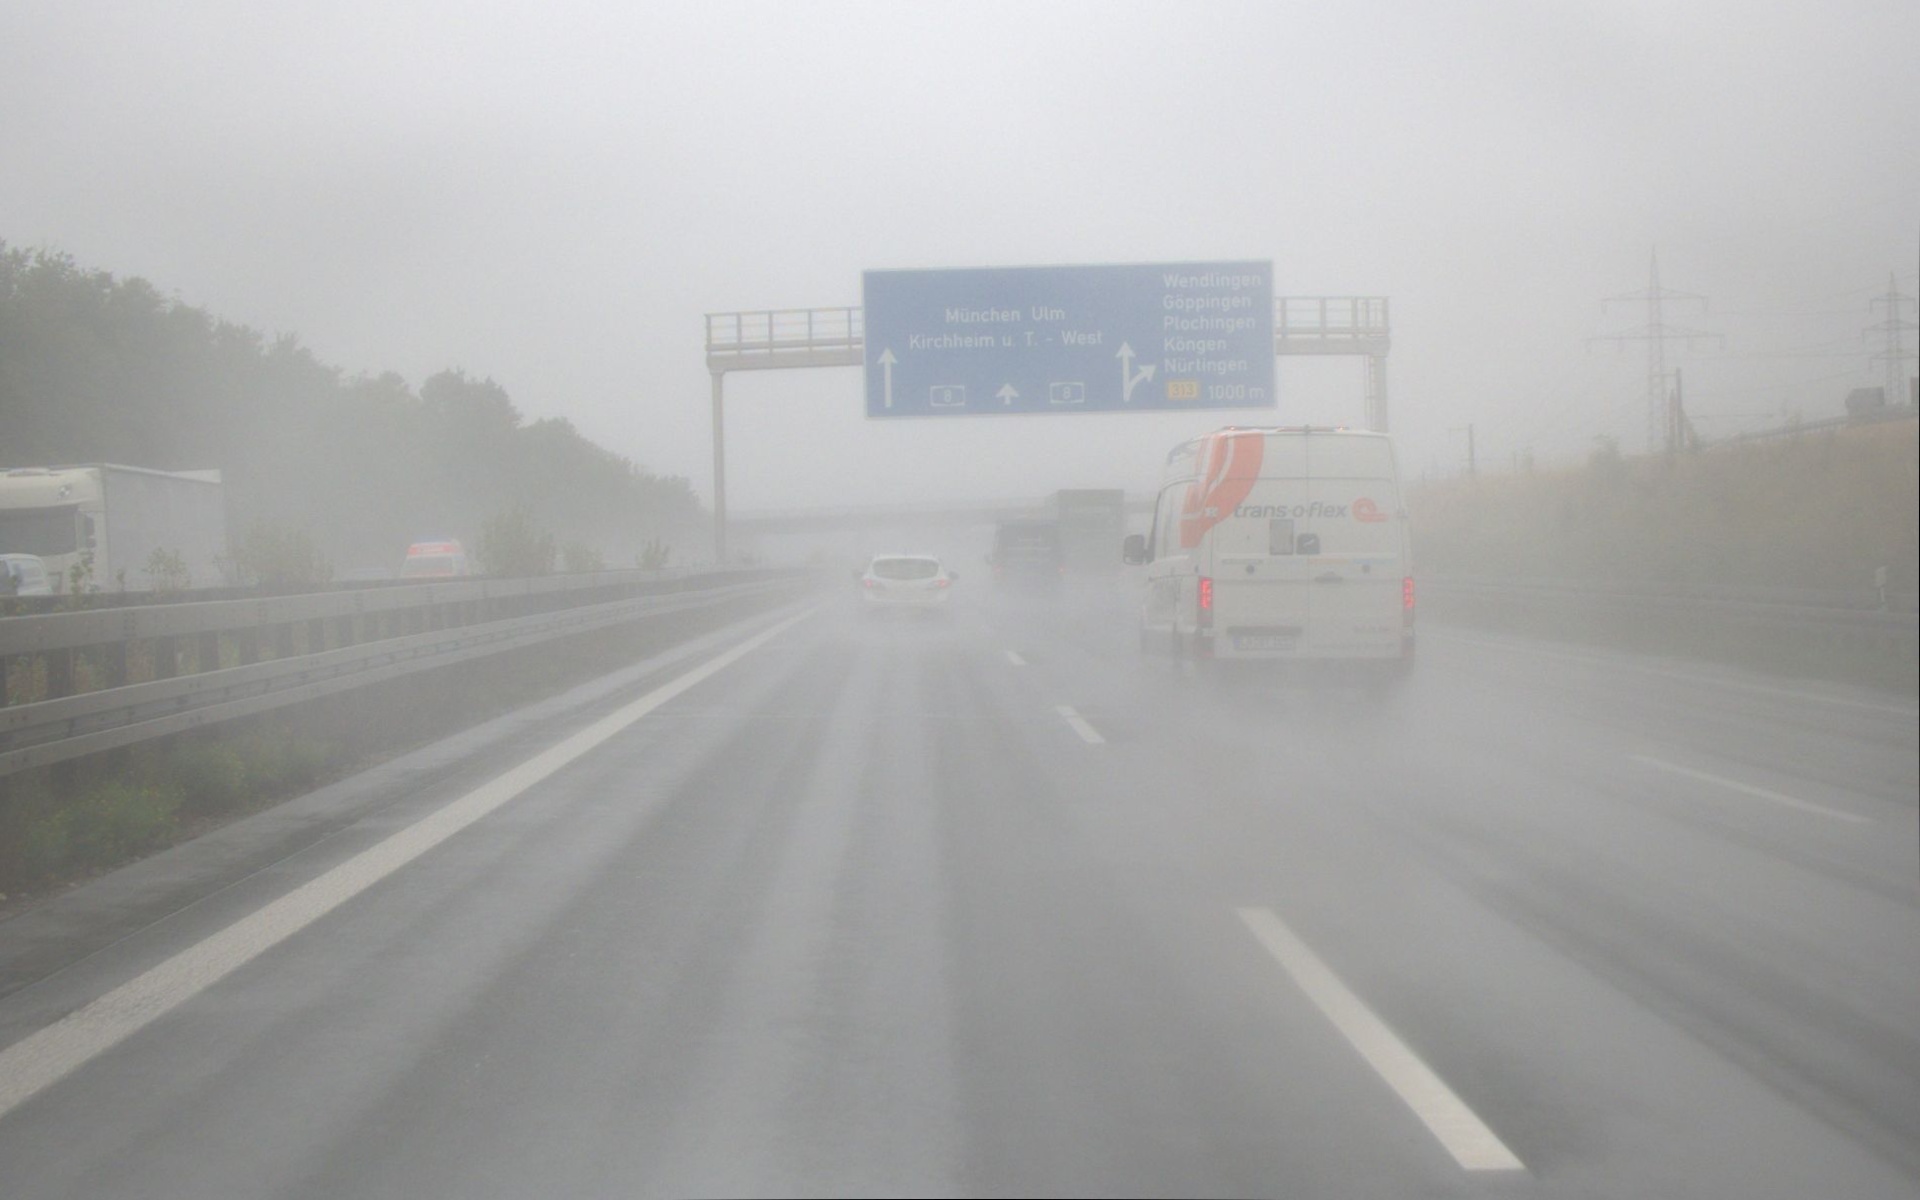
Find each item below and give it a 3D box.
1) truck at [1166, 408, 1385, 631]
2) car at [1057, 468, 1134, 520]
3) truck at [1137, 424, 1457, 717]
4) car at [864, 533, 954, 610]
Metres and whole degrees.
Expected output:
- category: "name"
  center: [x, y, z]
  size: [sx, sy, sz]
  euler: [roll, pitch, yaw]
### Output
- category: "truck"
  center: [6.978, -1.757, 78.848]
  size: [3.039, 4.572, 16.352]
  euler: [1, 1, -2]
- category: "car"
  center: [5.402, -4.244, 137.976]
  size: [2.788, 2.006, 4.993]
  euler: [1, 2, -1]
- category: "truck"
  center: [3.026, -0.333, 32.241]
  size: [2.419, 2.484, 5.560]
  euler: [1, 2, 0]
- category: "car"
  center: [-0.941, -0.545, 63.558]
  size: [1.605, 1.333, 3.849]
  euler: [1, 2, -1]
